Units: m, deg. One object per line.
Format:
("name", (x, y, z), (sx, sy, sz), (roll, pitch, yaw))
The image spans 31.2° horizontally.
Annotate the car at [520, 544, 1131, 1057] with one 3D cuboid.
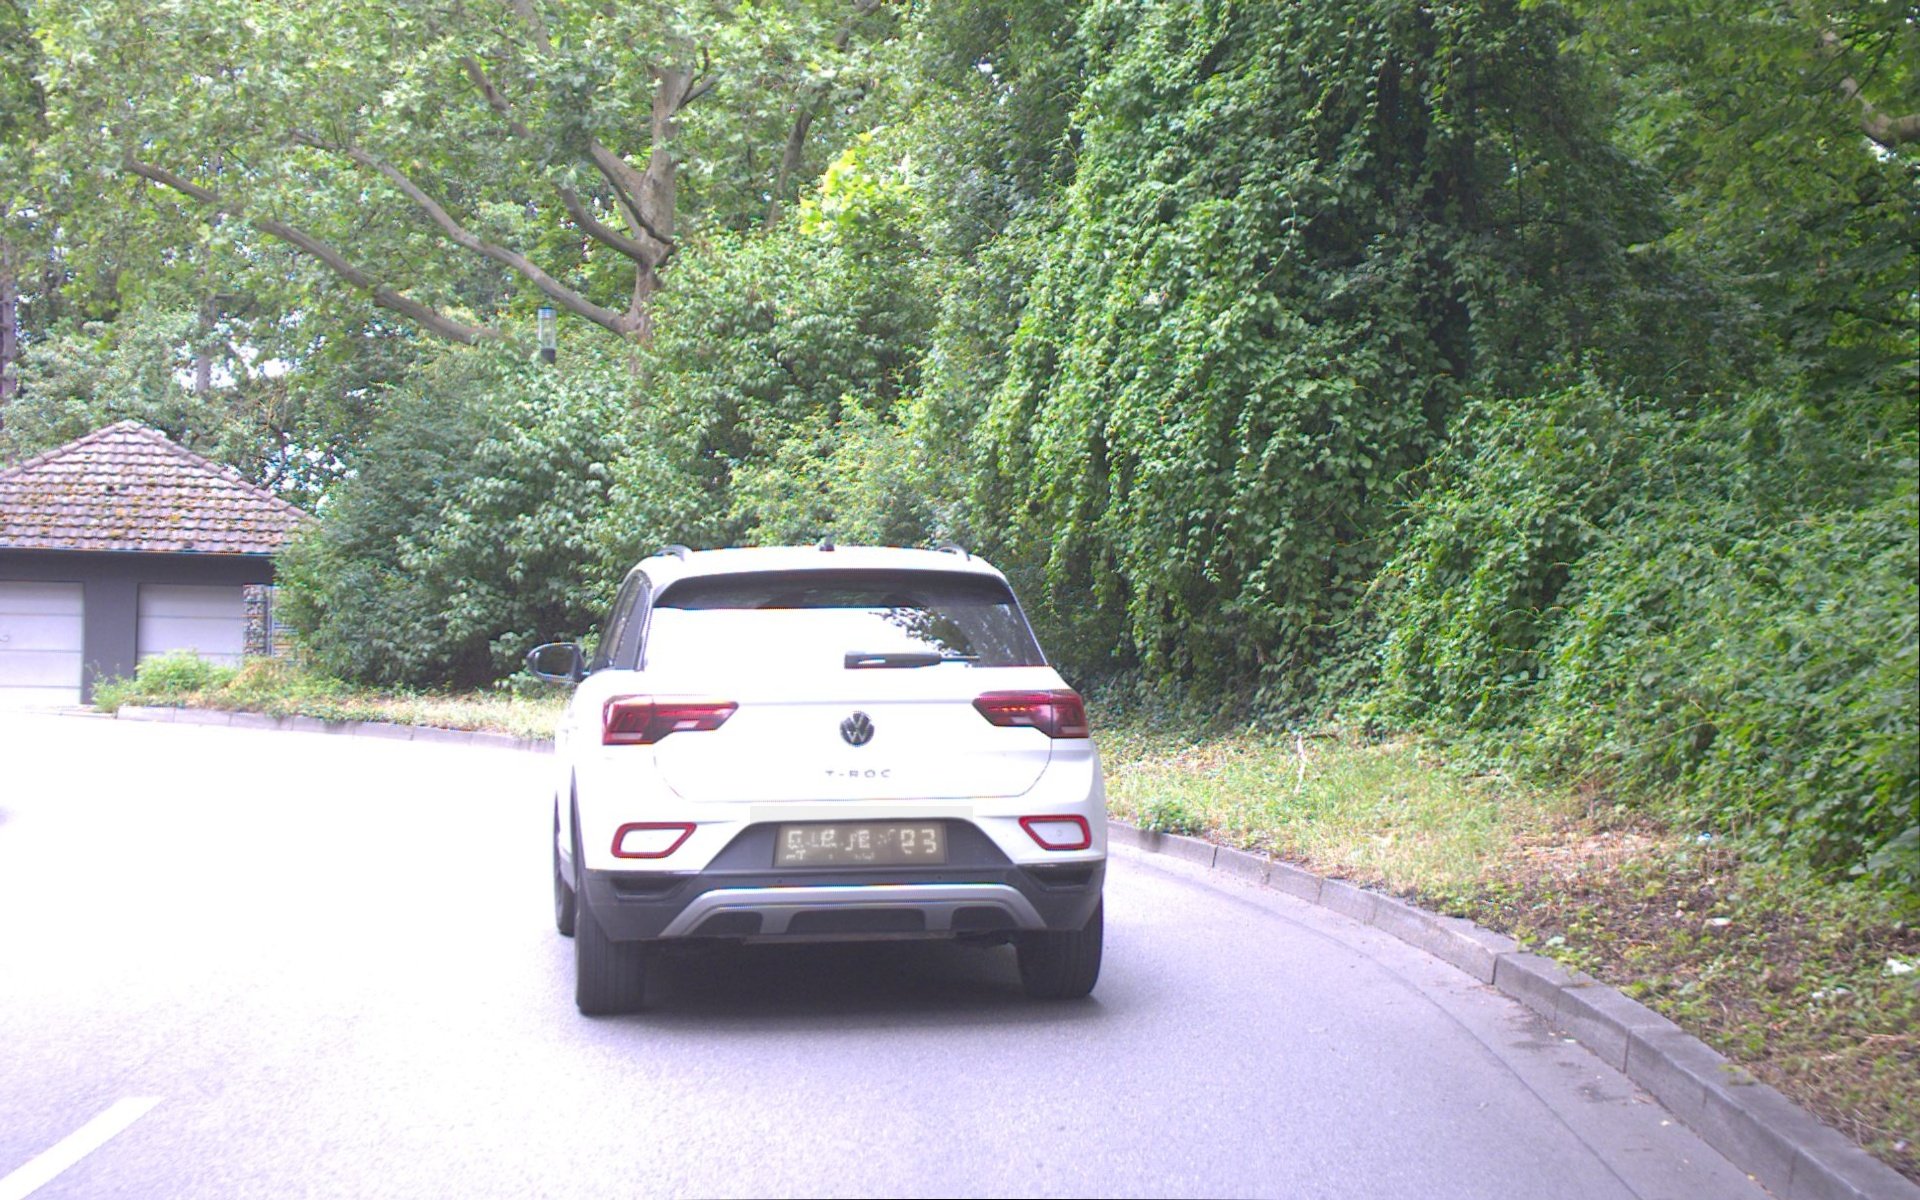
("car", (-0.681, 0.591, 12.848), (1.754, 1.547, 4.339), (-1, 1, -9))
